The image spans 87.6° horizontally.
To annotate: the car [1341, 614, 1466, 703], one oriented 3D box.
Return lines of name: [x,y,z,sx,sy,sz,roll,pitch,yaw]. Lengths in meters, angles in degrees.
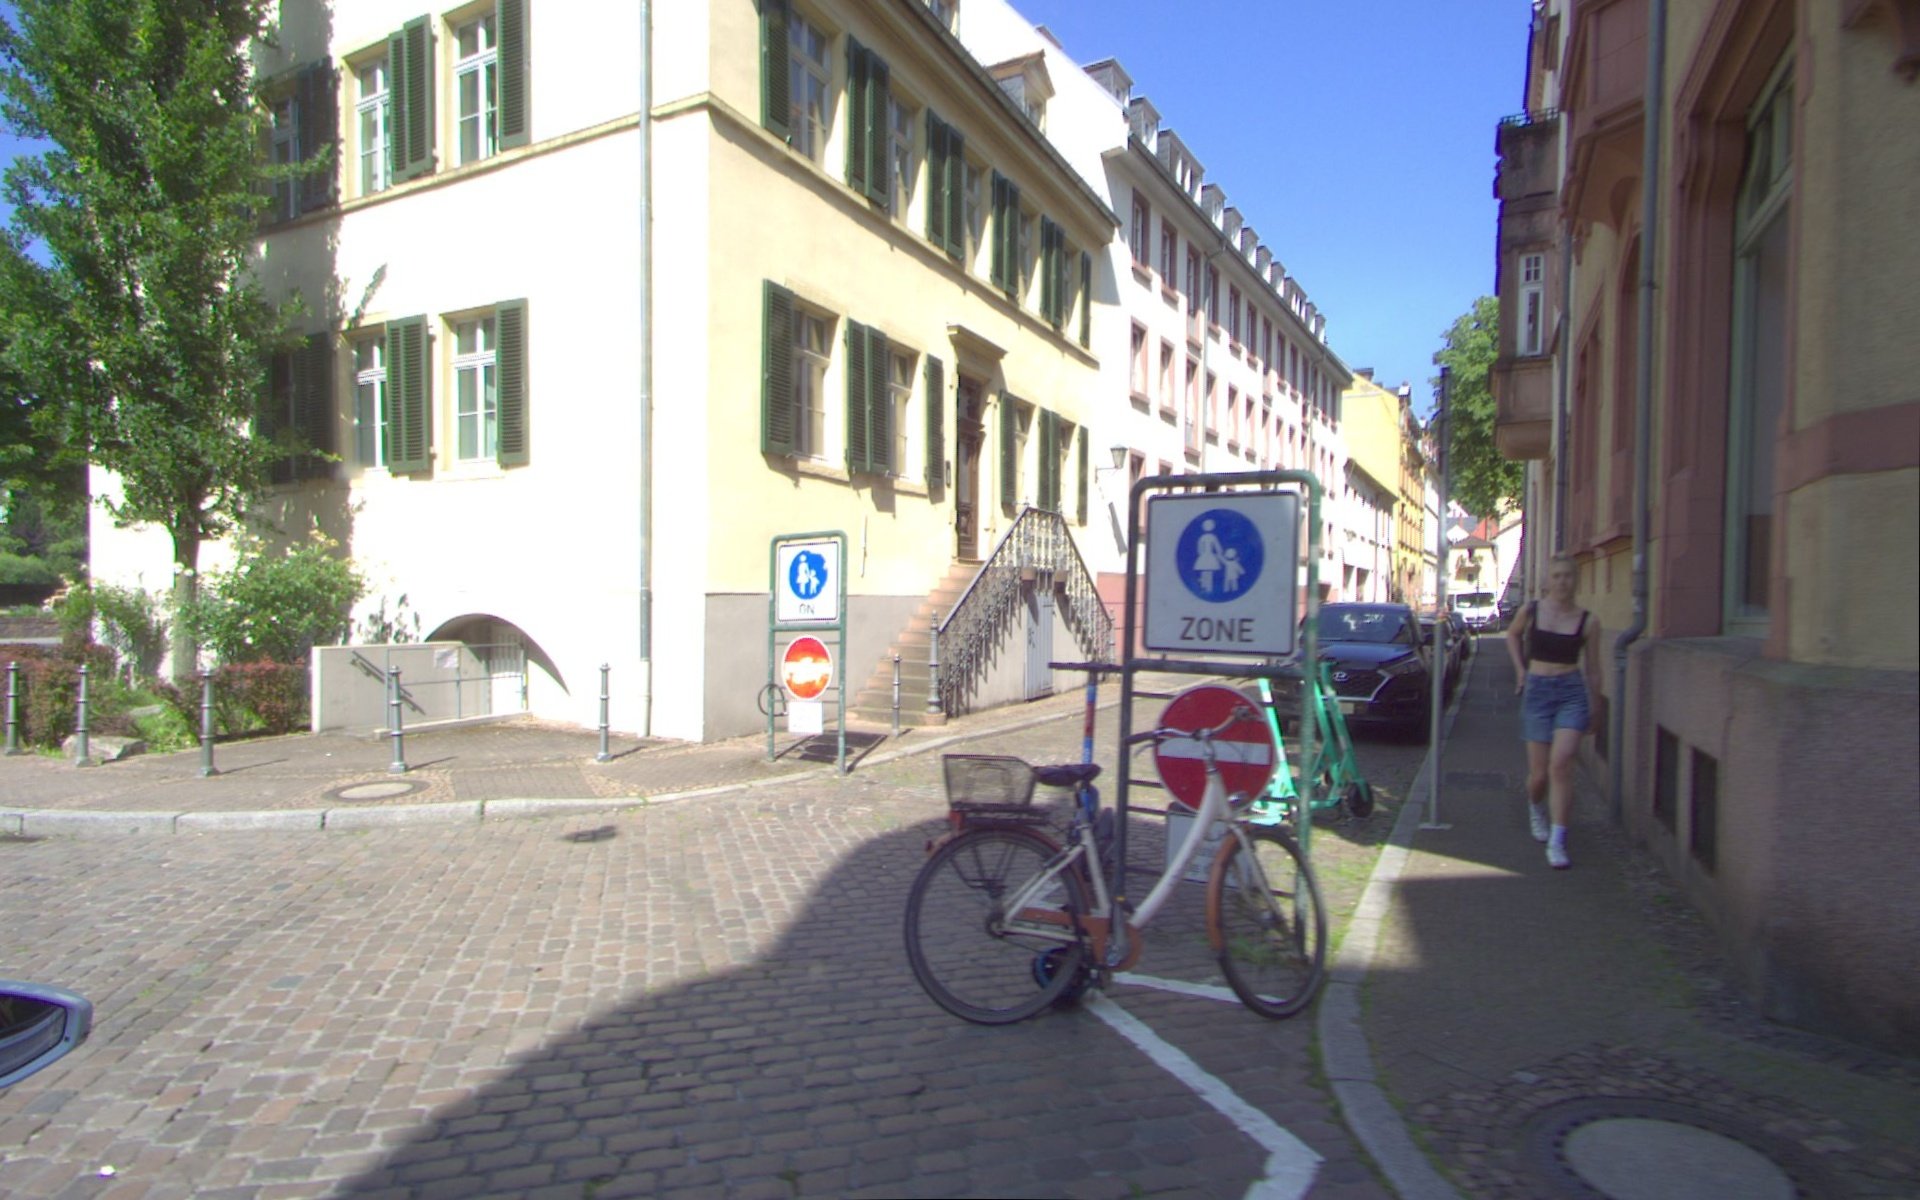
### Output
car: [7.776,0.963,17.417,1.686,1.376,3.321,-3,-2,28]

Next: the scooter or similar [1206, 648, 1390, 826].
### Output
scooter or similar: [2.463,0.983,7.383,1.211,1.225,0.413,1,1,9]

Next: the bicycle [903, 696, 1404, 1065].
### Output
bicycle: [0.687,0.977,3.723,1.759,1.162,0.505,0,1,-8]

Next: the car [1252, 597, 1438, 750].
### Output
car: [5.164,0.821,13.099,1.968,1.664,3.986,0,0,26]

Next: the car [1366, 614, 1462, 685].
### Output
car: [9.969,1.012,21.892,1.685,1.414,3.321,0,0,28]

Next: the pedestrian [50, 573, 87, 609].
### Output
pedestrian: [-32.088,-0.303,36.048,0.705,1.226,0.797,-2,-3,30]

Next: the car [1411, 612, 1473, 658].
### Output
car: [15.937,1.108,33.021,1.685,1.414,3.321,0,0,28]

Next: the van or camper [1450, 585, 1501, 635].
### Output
van or camper: [26.014,0.514,50.437,2.152,2.352,5.339,0,0,28]

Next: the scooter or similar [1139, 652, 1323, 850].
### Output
scooter or similar: [1.806,0.971,6.669,1.170,1.225,0.341,0,1,-18]

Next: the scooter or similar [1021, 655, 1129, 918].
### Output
scooter or similar: [0.673,0.970,5.646,0.434,1.251,1.189,1,0,14]

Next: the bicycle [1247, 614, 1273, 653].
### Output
bicycle: [9.486,1.039,31.633,0.450,1.198,1.438,1,0,31]

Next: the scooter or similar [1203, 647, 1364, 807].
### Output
scooter or similar: [2.587,1.009,8.051,1.167,1.225,0.342,1,1,4]

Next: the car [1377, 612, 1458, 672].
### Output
car: [11.837,1.026,25.817,1.685,1.414,3.321,0,0,28]

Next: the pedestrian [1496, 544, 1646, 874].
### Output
pedestrian: [3.607,0.609,5.986,0.614,1.780,0.977,-3,-2,27]
